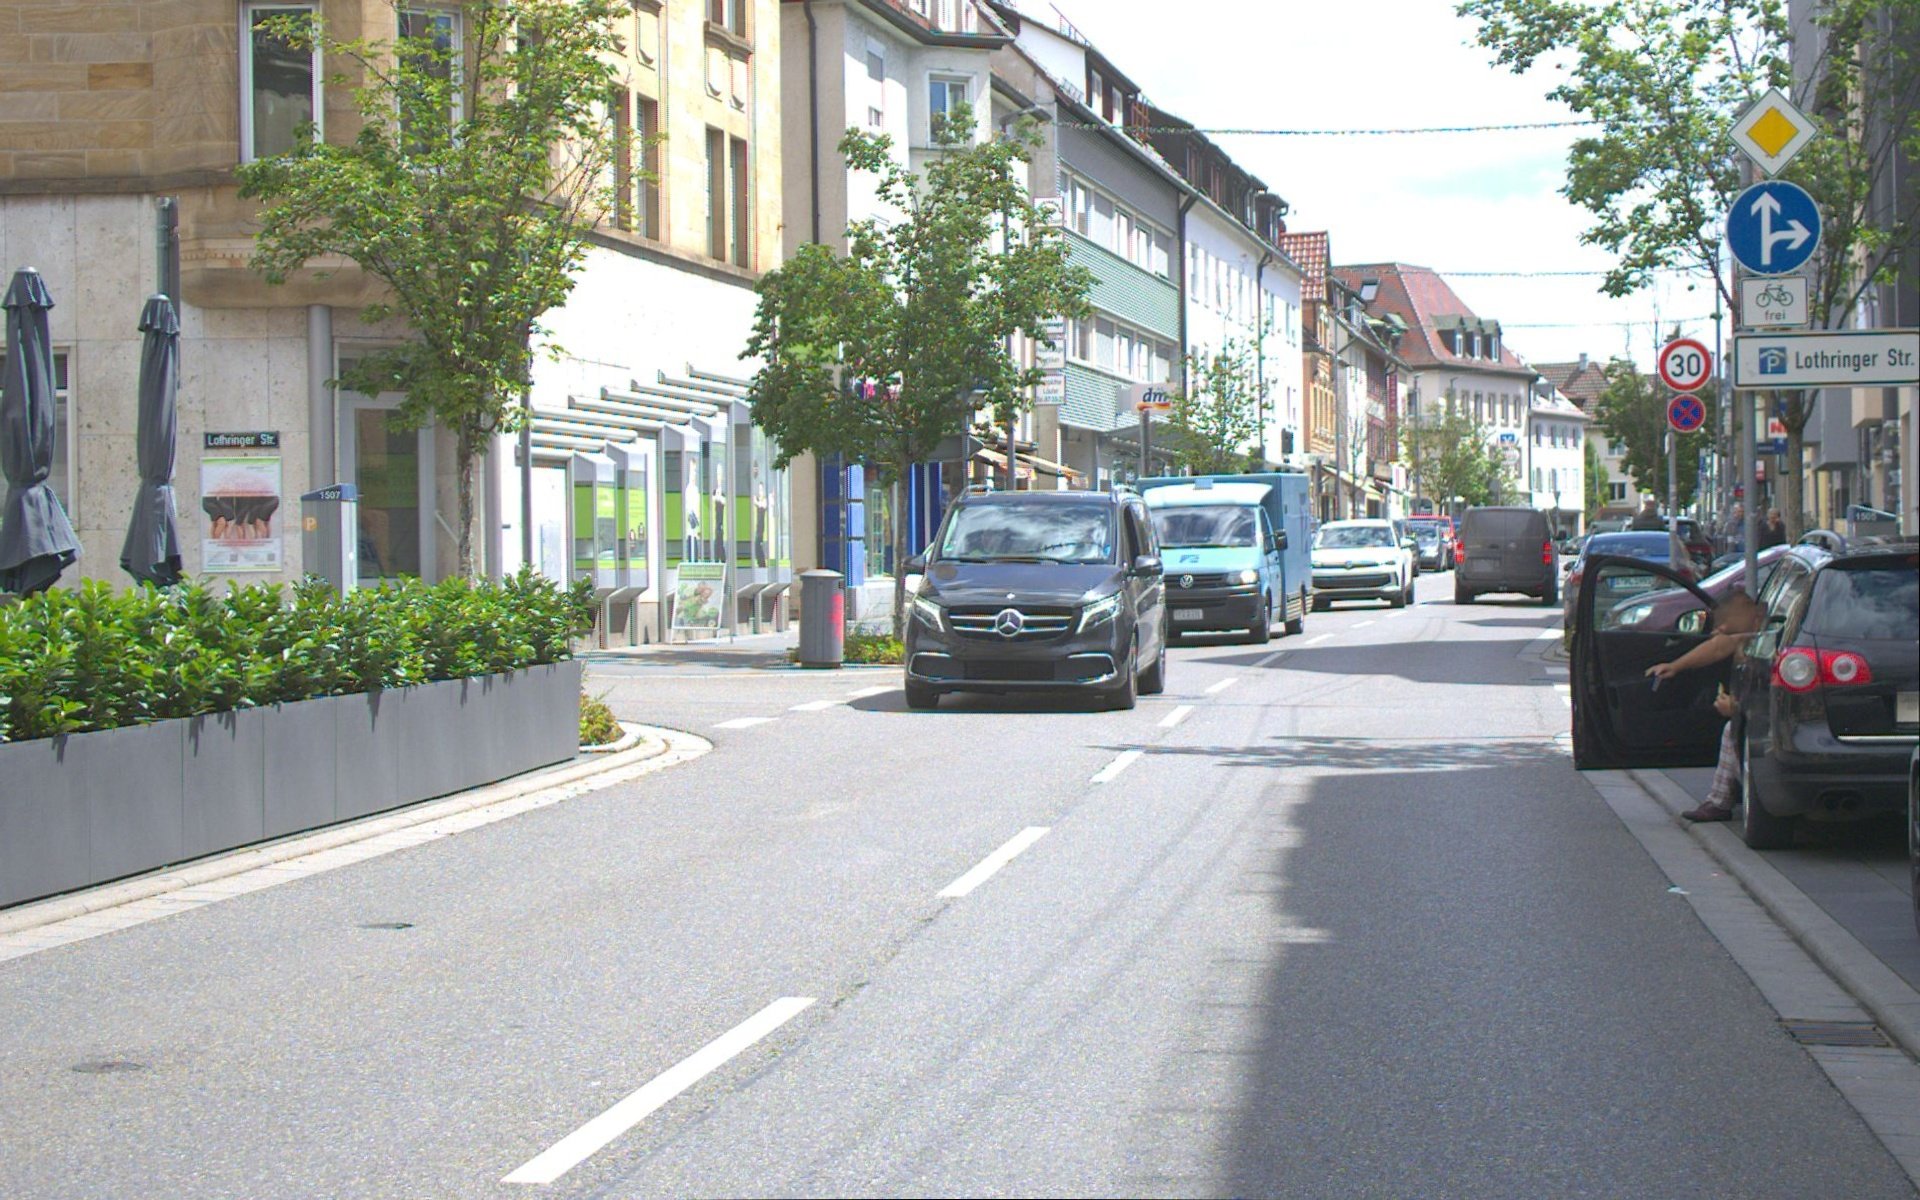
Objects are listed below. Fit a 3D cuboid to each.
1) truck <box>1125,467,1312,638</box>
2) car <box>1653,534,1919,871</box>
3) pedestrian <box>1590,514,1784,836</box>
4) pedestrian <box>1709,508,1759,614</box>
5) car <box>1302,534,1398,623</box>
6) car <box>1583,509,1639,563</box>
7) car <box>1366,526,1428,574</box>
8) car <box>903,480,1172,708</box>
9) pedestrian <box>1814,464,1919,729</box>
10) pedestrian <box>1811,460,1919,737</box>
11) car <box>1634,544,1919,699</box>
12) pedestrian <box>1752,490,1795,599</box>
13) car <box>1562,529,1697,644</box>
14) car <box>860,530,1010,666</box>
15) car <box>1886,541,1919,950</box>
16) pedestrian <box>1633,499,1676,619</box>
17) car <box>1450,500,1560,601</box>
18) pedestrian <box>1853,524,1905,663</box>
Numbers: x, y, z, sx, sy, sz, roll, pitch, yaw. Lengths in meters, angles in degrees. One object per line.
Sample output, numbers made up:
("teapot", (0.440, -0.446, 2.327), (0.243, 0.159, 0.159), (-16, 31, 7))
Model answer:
("truck", (3.553, -0.664, 46.389), (2.066, 2.157, 5.292), (0, 1, 9))
("car", (4.509, 0.406, 16.952), (1.606, 1.429, 4.174), (0, 1, 4))
("pedestrian", (3.691, 0.369, 17.455), (0.666, 1.588, 0.676), (2, 1, 45))
("pedestrian", (13.906, -0.694, 61.756), (0.570, 1.883, 0.646), (1, 0, -19))
("car", (7.202, -0.414, 63.435), (1.697, 1.579, 3.957), (0, 1, 7))
("car", (29.185, -2.851, 154.018), (2.066, 2.293, 4.221), (2, 1, 15))
("car", (14.535, -1.675, 114.399), (1.994, 1.579, 3.999), (0, 1, 7))
("car", (0.760, -0.089, 30.008), (1.835, 1.828, 4.568), (0, 1, 8))
("pedestrian", (6.988, -0.030, 26.404), (0.689, 2.007, 0.724), (0, 1, 3))
("pedestrian", (6.681, -0.016, 25.260), (0.689, 2.007, 0.724), (0, 1, 3))
("car", (8.467, 0.210, 33.413), (3.622, 1.408, 1.589), (1, 1, 7))
("pedestrian", (15.186, -1.036, 64.166), (0.682, 2.007, 0.599), (1, 1, 5))
("car", (8.702, -0.201, 44.859), (1.521, 1.429, 3.369), (0, 1, 8))
("car", (-0.291, -0.069, 45.809), (1.710, 1.706, 4.000), (0, 1, 4))
("car", (3.956, 0.531, 10.461), (1.621, 1.429, 4.238), (-2, 1, 8))
("pedestrian", (11.688, -0.698, 57.874), (0.682, 2.007, 0.598), (1, 1, 12))
("car", (10.592, -0.988, 66.556), (1.972, 1.869, 5.035), (0, 1, 10))
("pedestrian", (12.646, -0.095, 47.334), (0.594, 1.883, 0.572), (1, 0, 10))
